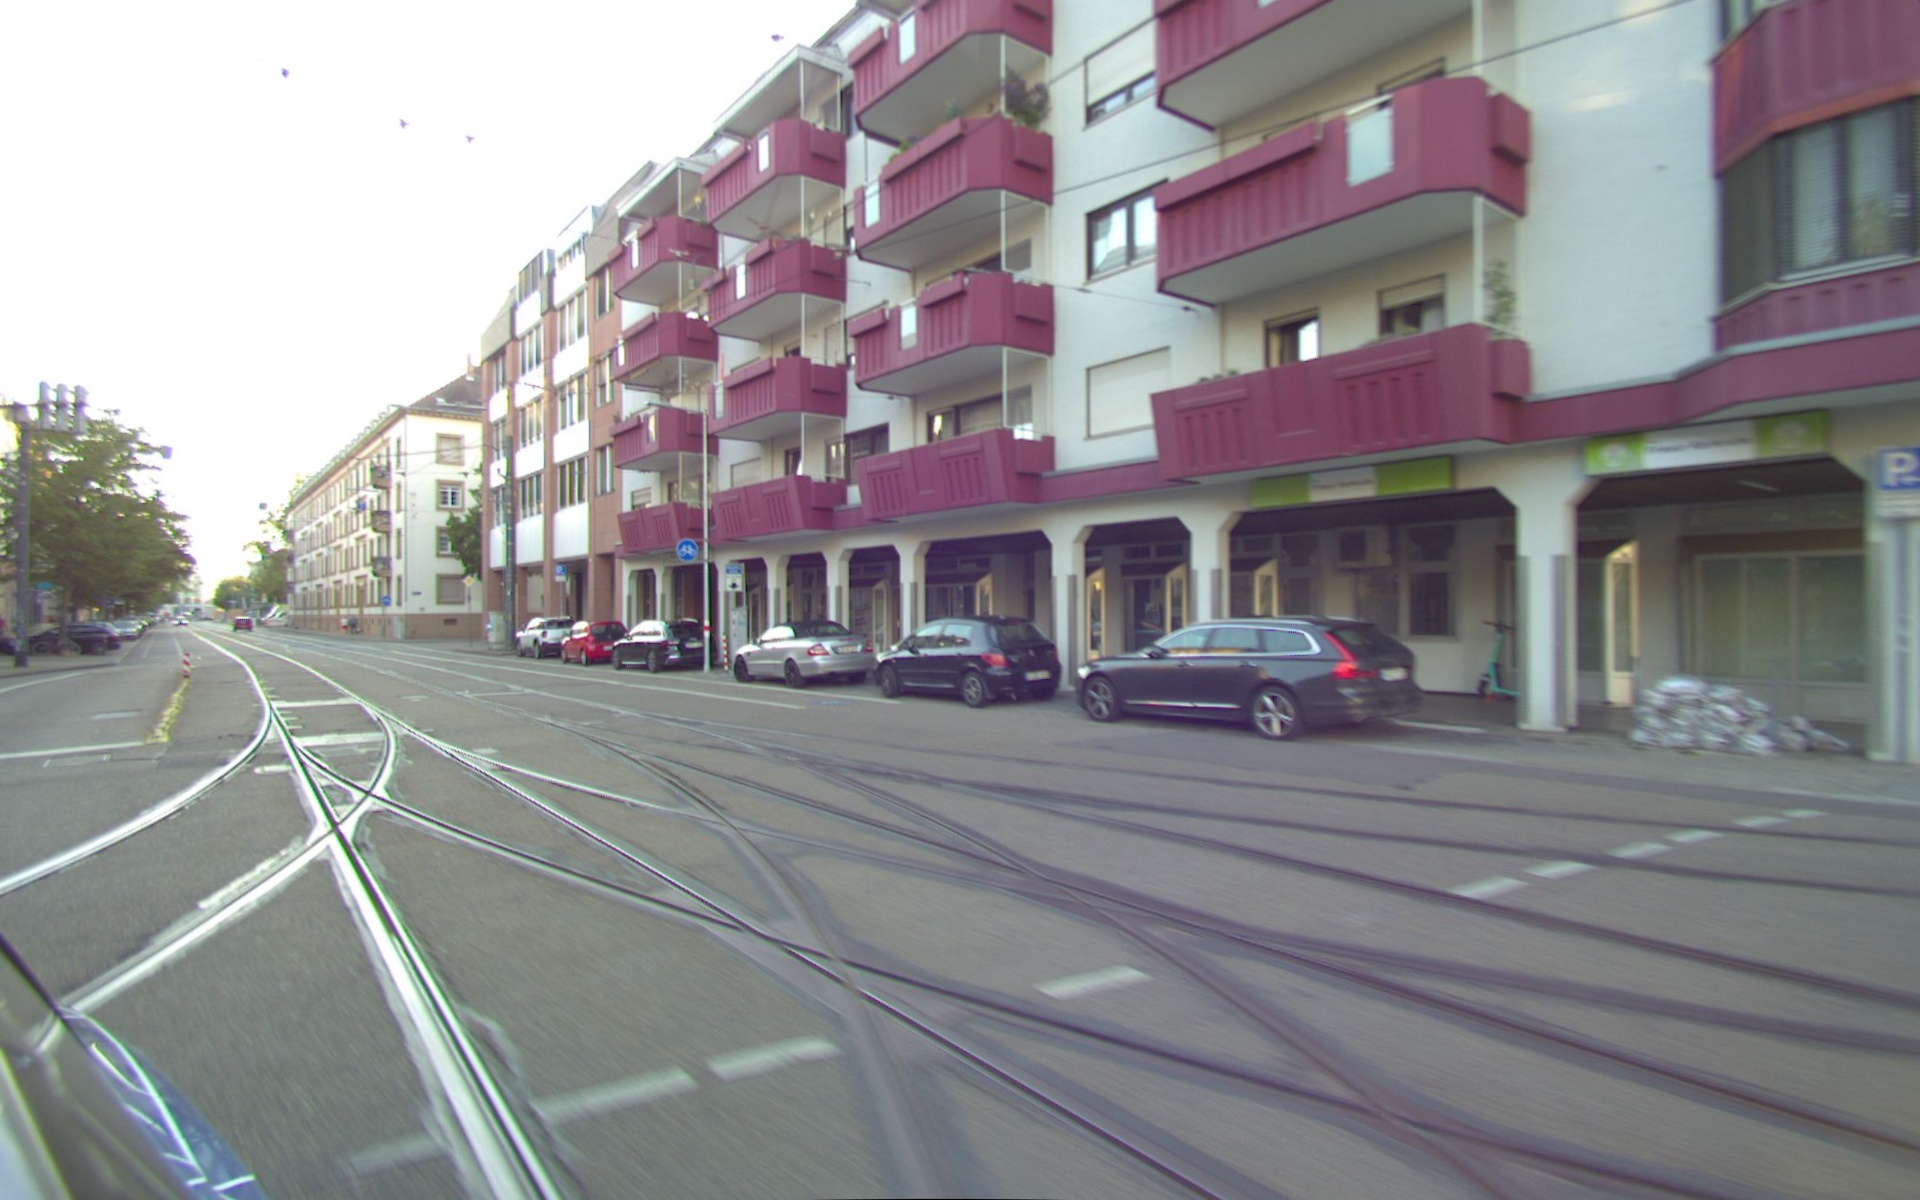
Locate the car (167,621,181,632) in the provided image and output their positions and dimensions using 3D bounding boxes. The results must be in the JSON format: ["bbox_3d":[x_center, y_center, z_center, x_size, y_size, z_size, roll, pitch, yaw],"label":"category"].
[{"bbox_3d":[-138.399,4.685,178.162,1.968,1.696,4.008,-1,-1,-38],"label":"car"}]

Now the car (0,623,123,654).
[{"bbox_3d":[-46.248,1.975,52.127,2.054,1.528,4.415,-1,-2,28],"label":"car"}]

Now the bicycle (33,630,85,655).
[{"bbox_3d":[-40.478,1.915,45.511,1.668,1.110,0.929,2,-3,-39],"label":"bicycle"}]

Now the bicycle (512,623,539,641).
[{"bbox_3d":[-30.688,2.239,71.515,0.602,1.222,1.664,-1,-1,34],"label":"bicycle"}]

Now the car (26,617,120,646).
[{"bbox_3d":[-49.264,1.746,56.273,1.734,1.528,3.535,-1,-2,26],"label":"car"}]

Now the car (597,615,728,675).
[{"bbox_3d":[-8.721,1.258,29.415,1.969,1.490,4.489,-3,1,-40],"label":"car"}]

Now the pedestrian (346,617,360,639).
[{"bbox_3d":[-49.128,2.257,81.927,0.785,1.714,0.983,0,-1,-41],"label":"pedestrian"}]

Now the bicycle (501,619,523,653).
[{"bbox_3d":[-18.924,1.508,42.705,0.600,1.388,2.265,0,-1,-31],"label":"bicycle"}]

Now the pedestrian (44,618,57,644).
[{"bbox_3d":[-64.774,2.190,72.077,0.671,1.830,0.601,0,-1,-38],"label":"pedestrian"}]

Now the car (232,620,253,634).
[{"bbox_3d":[-79.377,3.005,111.967,1.540,1.570,3.760,2,-2,-41],"label":"car"}]

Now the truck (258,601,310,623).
[{"bbox_3d":[-114.563,1.971,171.632,6.972,3.454,2.569,-1,-1,-42],"label":"truck"}]

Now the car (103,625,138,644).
[{"bbox_3d":[-64.177,2.652,77.413,1.757,1.391,4.701,2,-2,-36],"label":"car"}]

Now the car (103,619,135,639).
[{"bbox_3d":[-60.634,2.103,72.997,1.598,1.391,3.783,2,-2,-38],"label":"car"}]

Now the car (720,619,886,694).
[{"bbox_3d":[-3.640,1.189,22.692,1.669,1.424,4.688,-3,1,-36],"label":"car"}]

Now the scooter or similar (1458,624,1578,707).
[{"bbox_3d":[8.428,0.964,15.335,0.542,1.174,1.483,0,-1,-37],"label":"scooter or similar"}]

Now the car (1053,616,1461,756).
[{"bbox_3d":[3.659,0.974,13.468,1.828,1.468,5.096,0,-1,-38],"label":"car"}]

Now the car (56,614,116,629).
[{"bbox_3d":[-90.385,2.246,104.713,1.715,1.475,4.340,-2,-2,34],"label":"car"}]

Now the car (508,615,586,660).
[{"bbox_3d":[-15.854,1.415,38.743,1.695,1.567,4.212,-2,0,-38],"label":"car"}]

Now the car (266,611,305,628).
[{"bbox_3d":[-111.319,3.155,167.080,5.156,2.617,2.232,-1,-1,-42],"label":"car"}]

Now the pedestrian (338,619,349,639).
[{"bbox_3d":[-49.682,2.330,81.536,0.583,1.622,0.812,0,-1,-41],"label":"pedestrian"}]

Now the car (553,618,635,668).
[{"bbox_3d":[-12.371,1.405,34.115,1.590,1.490,3.487,-3,1,-37],"label":"car"}]

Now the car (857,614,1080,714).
[{"bbox_3d":[0.029,1.062,18.269,1.765,1.519,4.209,-2,0,-38],"label":"car"}]

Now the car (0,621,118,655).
[{"bbox_3d":[-42.173,1.754,46.846,1.702,1.468,4.577,-1,-2,27],"label":"car"}]
